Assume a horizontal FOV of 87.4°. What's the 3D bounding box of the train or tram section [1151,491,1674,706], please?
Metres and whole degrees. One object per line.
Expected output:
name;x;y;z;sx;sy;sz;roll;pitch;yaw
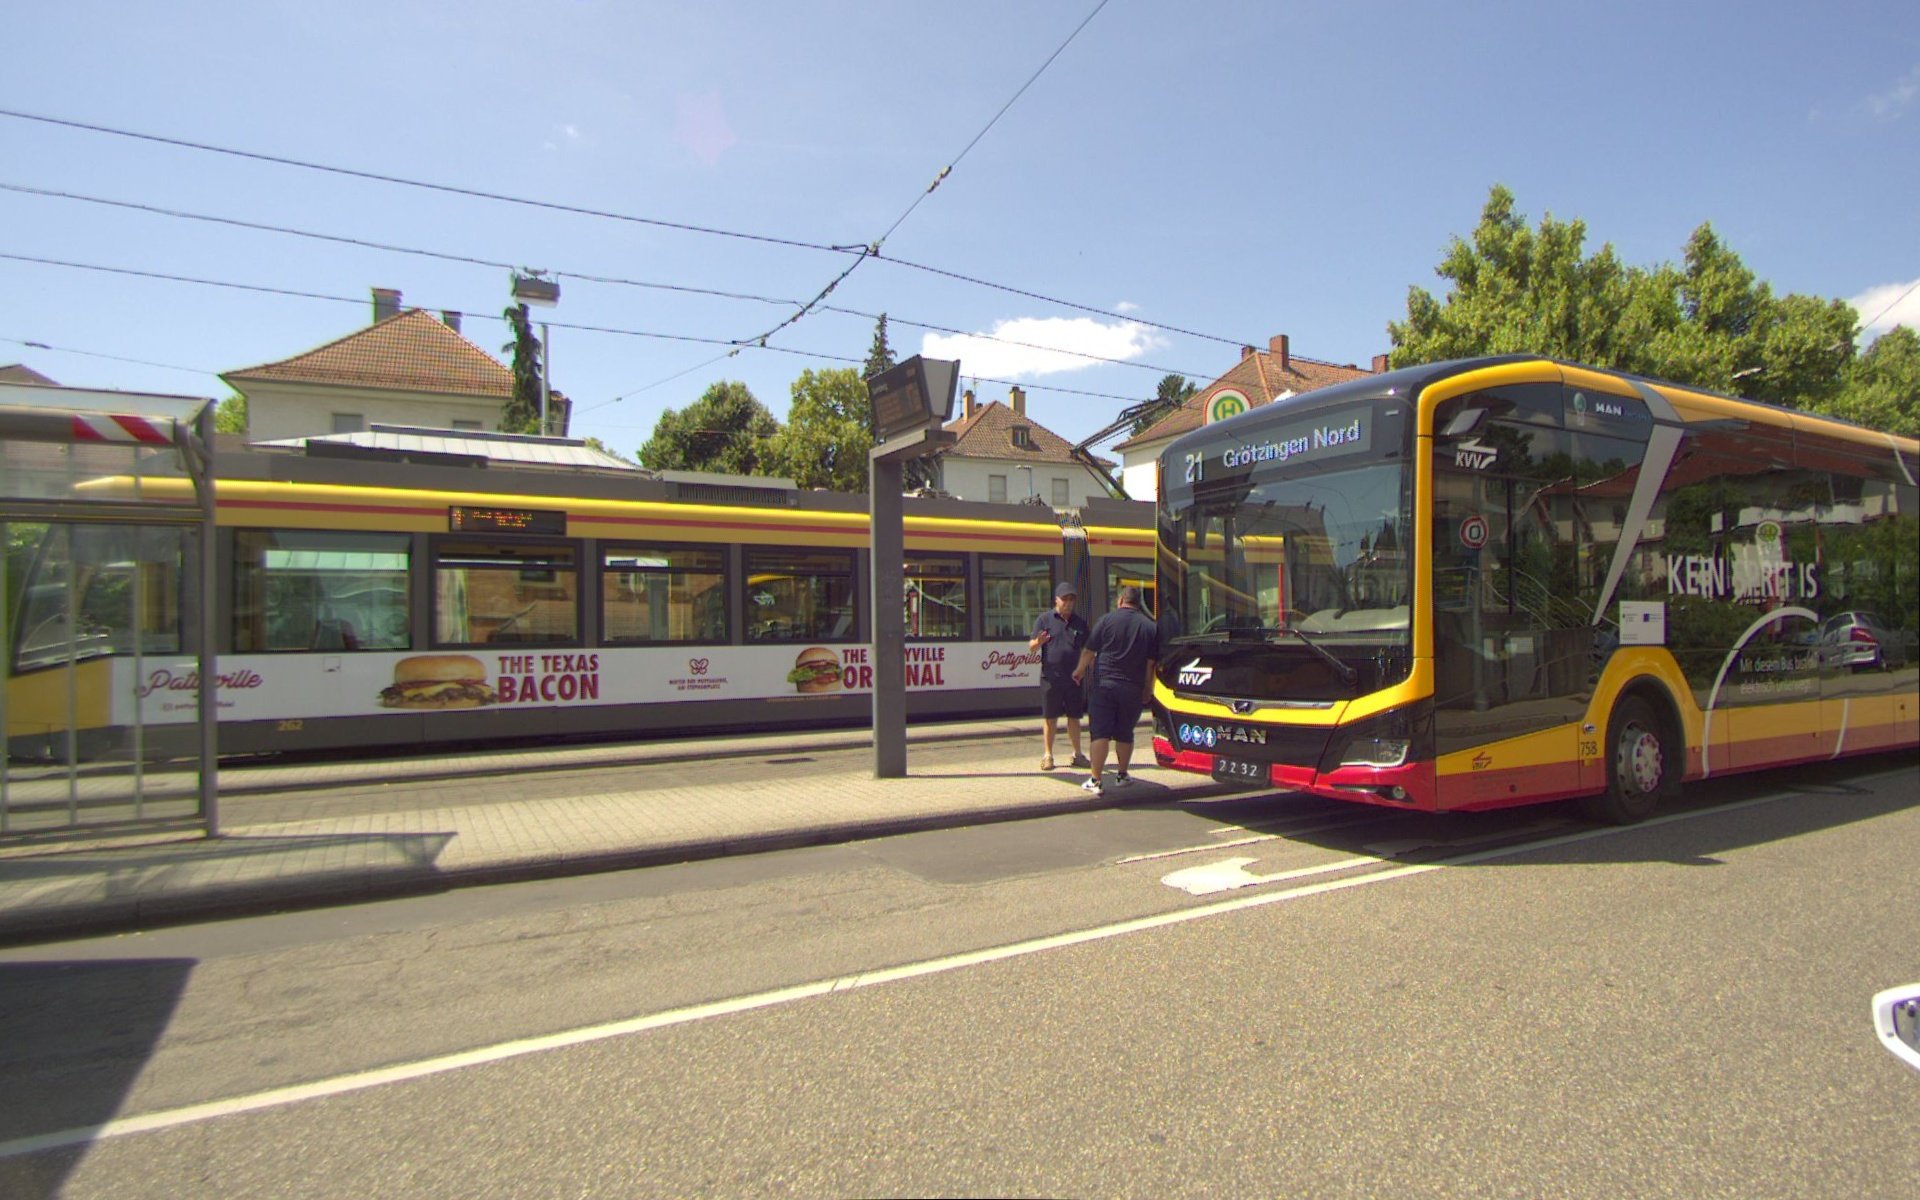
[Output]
train or tram section;10.468;0.049;21.979;13.828;3.691;2.949;1;0;-30

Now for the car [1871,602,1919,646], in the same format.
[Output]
car;31.672;0.801;32.326;1.456;1.391;3.253;2;0;-38

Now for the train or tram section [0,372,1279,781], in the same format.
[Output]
train or tram section;-2.645;-0.127;14.302;17.146;3.691;2.949;1;0;-30

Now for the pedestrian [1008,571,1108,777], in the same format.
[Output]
pedestrian;0.914;0.656;9.272;0.767;1.801;0.574;2;0;18

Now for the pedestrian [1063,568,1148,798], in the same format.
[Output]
pedestrian;1.189;0.654;8.190;0.582;1.801;0.386;2;0;18

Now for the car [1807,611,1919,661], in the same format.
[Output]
car;27.932;1.084;30.593;3.240;1.391;1.462;2;0;41

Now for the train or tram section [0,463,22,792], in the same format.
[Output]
train or tram section;-15.343;0.229;6.959;12.507;3.542;2.949;1;0;-30

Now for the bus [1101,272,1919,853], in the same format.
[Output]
bus;7.113;-0.046;9.951;12.051;3.290;2.884;2;0;-30
